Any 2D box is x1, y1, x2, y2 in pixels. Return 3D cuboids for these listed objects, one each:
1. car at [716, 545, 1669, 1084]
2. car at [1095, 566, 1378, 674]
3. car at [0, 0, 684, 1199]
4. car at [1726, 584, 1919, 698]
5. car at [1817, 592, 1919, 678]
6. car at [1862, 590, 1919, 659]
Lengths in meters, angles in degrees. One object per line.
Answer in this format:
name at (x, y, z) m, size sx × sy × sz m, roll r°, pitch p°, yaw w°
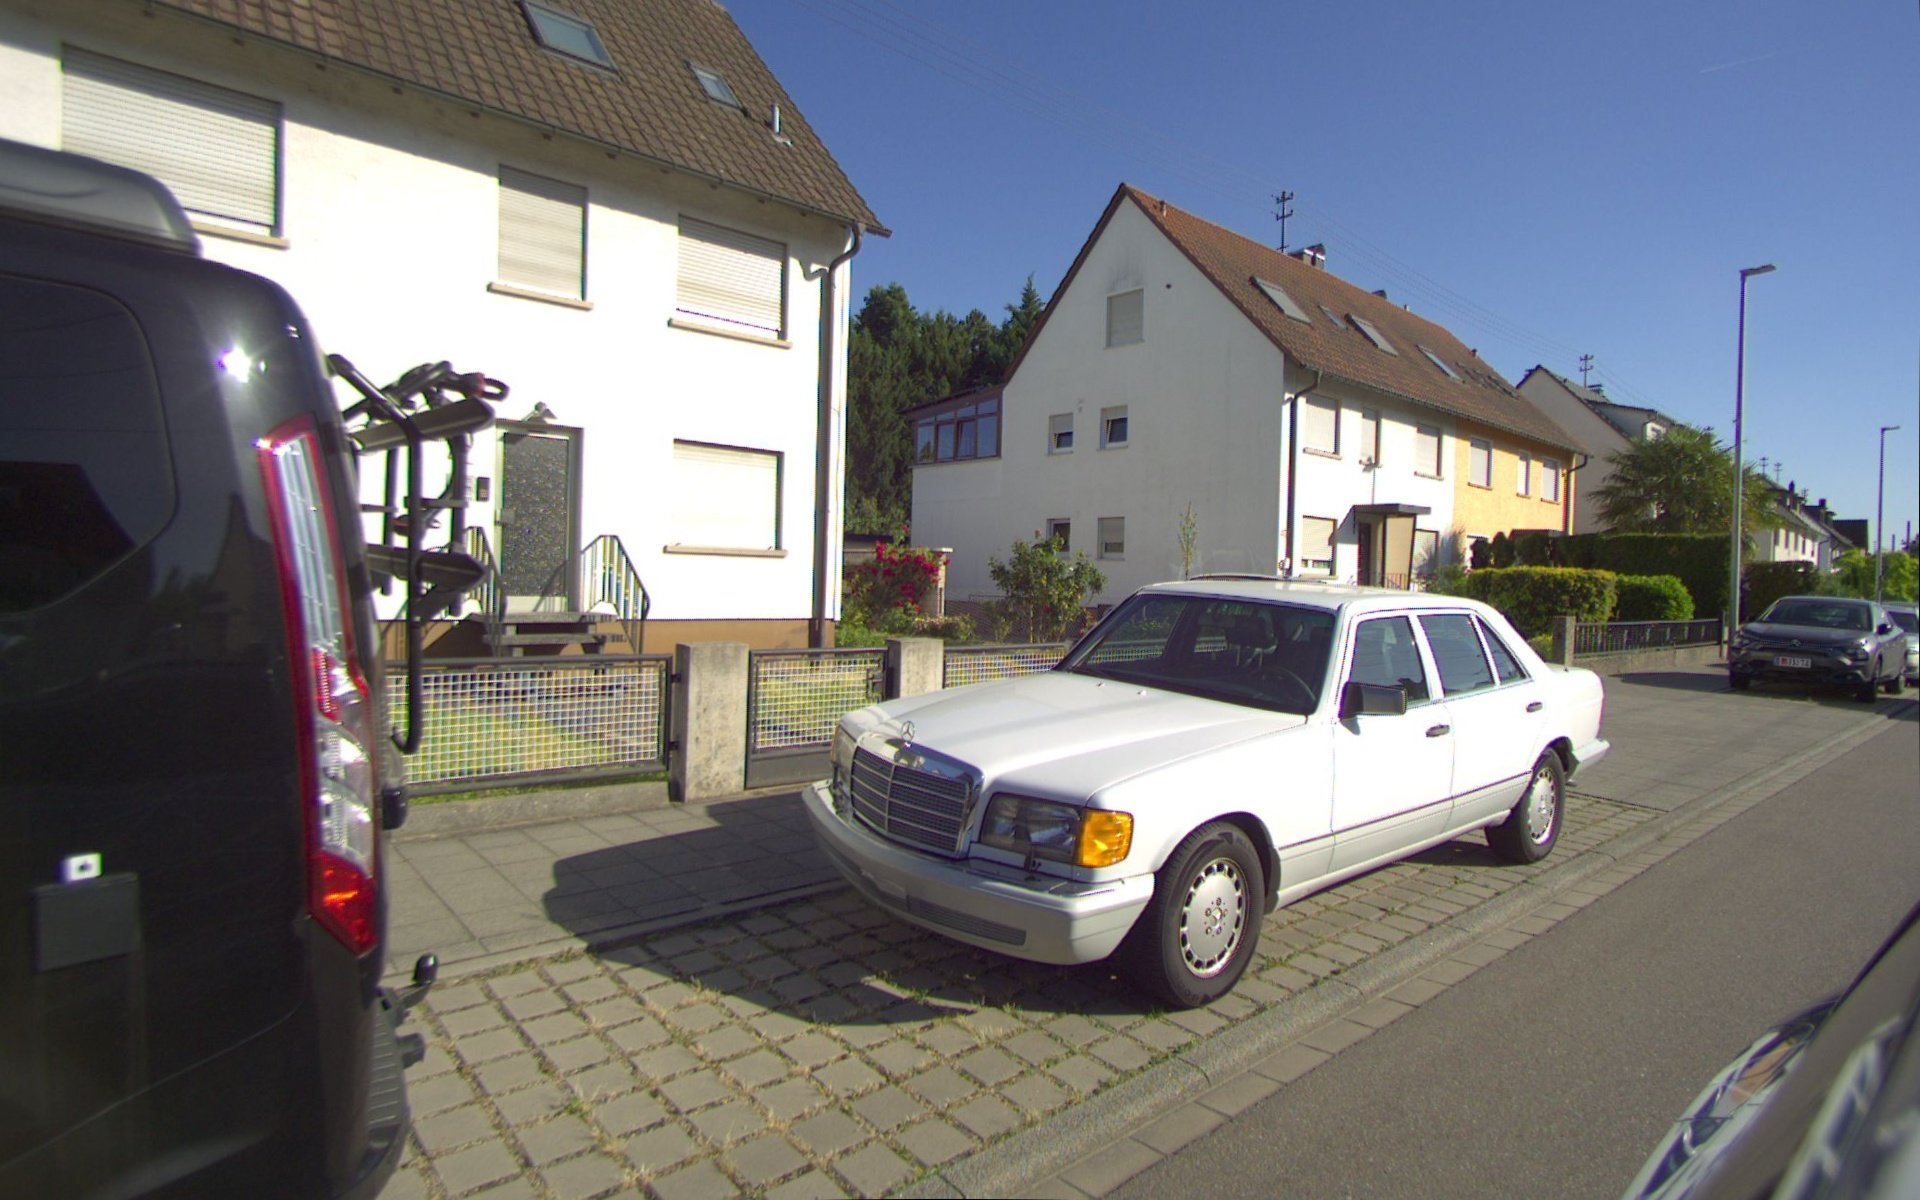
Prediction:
car at (1.698, 0.574, 5.294) m, size 5.513 × 1.461 × 1.857 m, roll 0°, pitch 3°, yaw -40°
car at (4.819, 0.247, 18.080) m, size 2.160 × 1.675 × 4.419 m, roll 0°, pitch 2°, yaw -43°
car at (-3.114, 0.294, 0.802) m, size 5.242 × 2.170 × 1.964 m, roll 0°, pitch 3°, yaw -41°
car at (13.987, 0.564, 16.182) m, size 4.644 × 1.517 × 1.781 m, roll 0°, pitch 2°, yaw -40°
car at (18.273, 0.659, 19.723) m, size 4.617 × 1.465 × 1.751 m, roll 1°, pitch 2°, yaw -42°
car at (24.123, 0.576, 25.277) m, size 4.841 × 1.578 × 1.809 m, roll 0°, pitch 3°, yaw -42°
